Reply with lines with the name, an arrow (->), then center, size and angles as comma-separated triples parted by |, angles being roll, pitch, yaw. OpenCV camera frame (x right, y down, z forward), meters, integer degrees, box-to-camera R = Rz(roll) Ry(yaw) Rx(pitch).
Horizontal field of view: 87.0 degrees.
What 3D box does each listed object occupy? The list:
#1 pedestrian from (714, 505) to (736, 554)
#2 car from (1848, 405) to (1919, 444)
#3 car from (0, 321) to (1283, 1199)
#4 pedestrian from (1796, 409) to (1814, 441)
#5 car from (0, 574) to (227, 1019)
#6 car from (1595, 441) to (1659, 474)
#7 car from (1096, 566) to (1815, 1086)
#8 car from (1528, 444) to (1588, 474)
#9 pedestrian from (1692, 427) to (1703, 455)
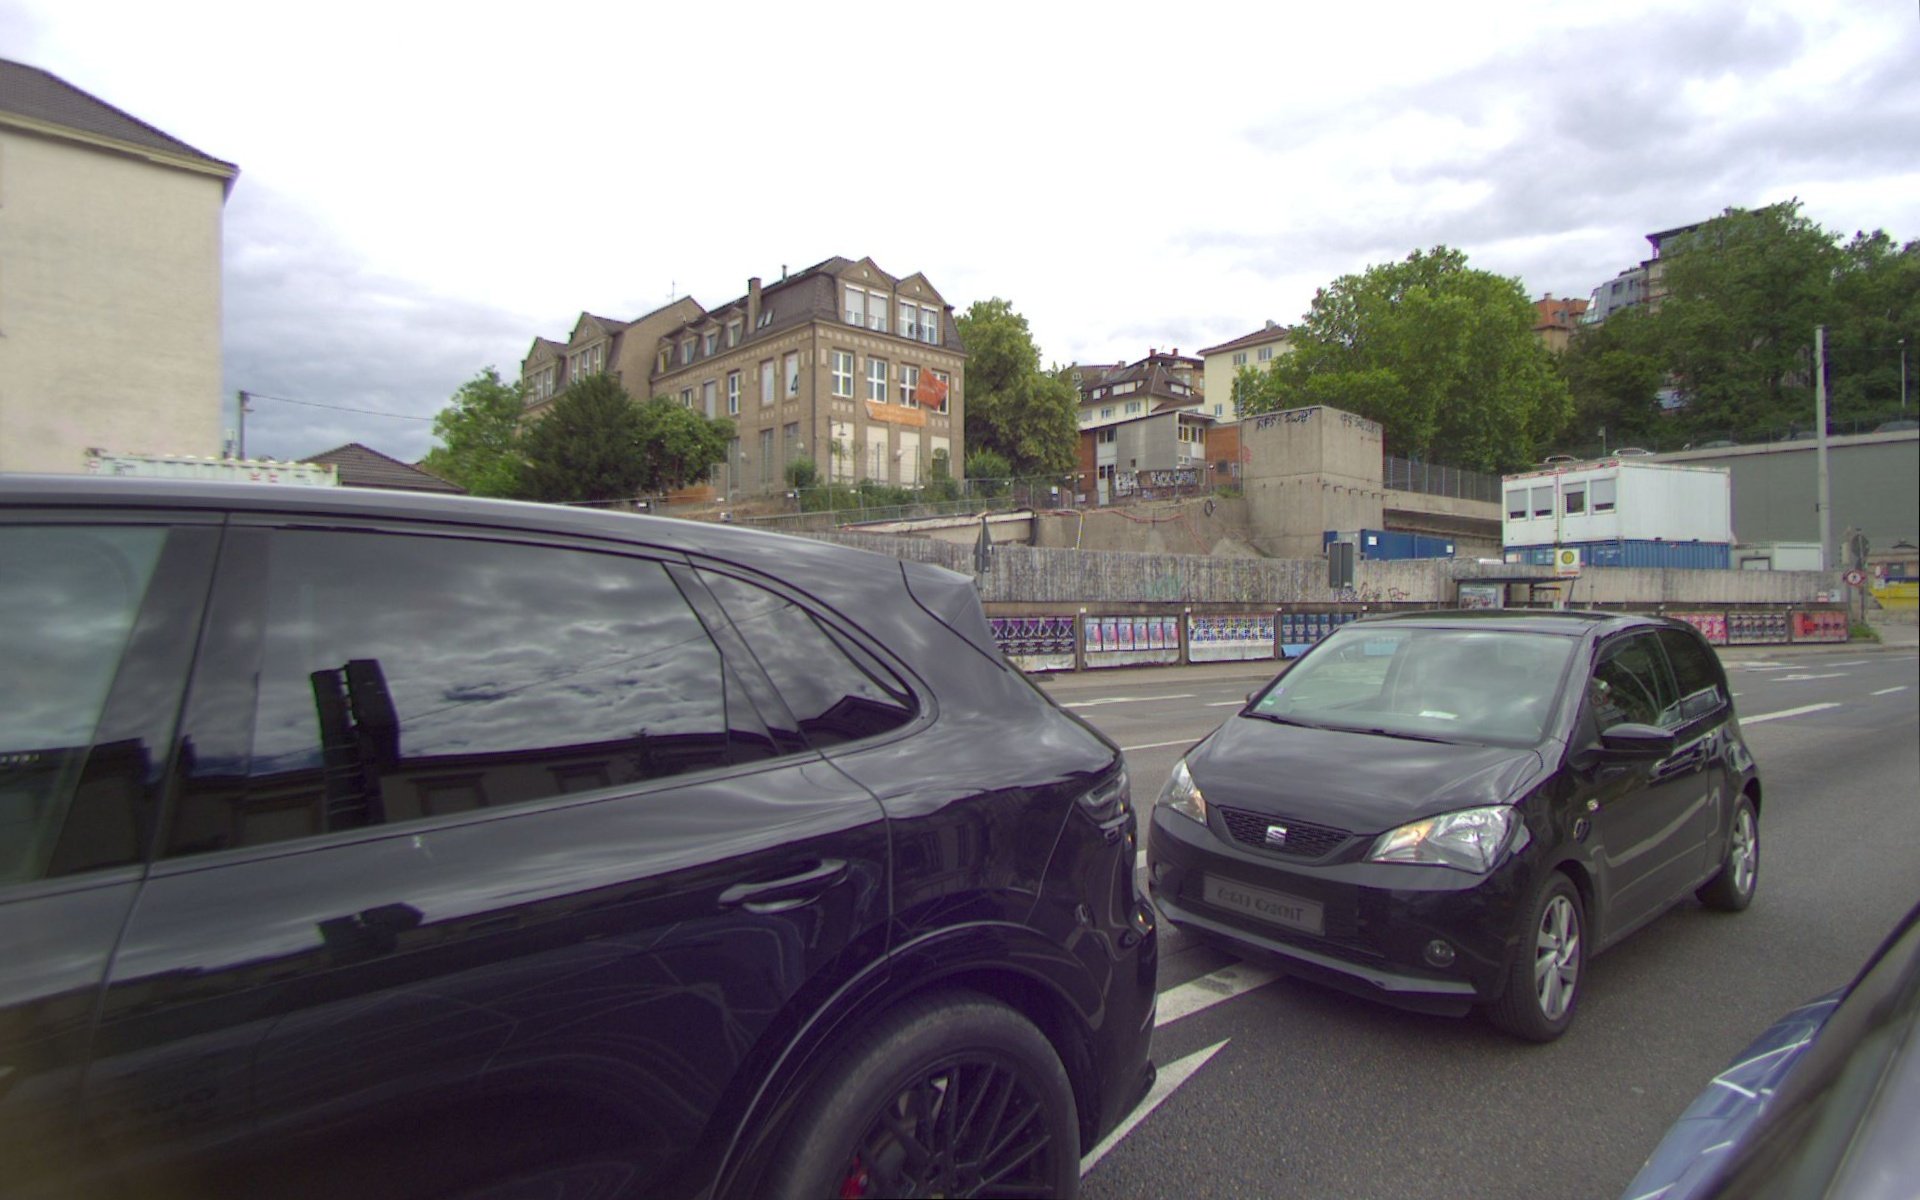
pedestrian -> -9.897, -2.960, 42.641 | 0.656, 2.039, 0.644 | 0, 0, -45
car -> 64.197, -12.104, 70.009 | 1.966, 2.039, 3.991 | 0, 1, -43
car -> -1.613, 0.590, 1.682 | 4.552, 1.707, 1.959 | 0, -1, -40
pedestrian -> 59.375, -12.266, 71.122 | 0.891, 2.039, 0.849 | 0, -1, -45
car -> -4.873, 0.696, 3.401 | 3.812, 1.563, 1.667 | 0, -1, -40
car -> 53.612, -11.425, 81.404 | 3.988, 2.039, 1.968 | 0, 1, 45
car -> 2.566, 0.667, 4.832 | 3.812, 1.515, 1.667 | 0, -1, -40
car -> 50.297, -11.834, 85.194 | 3.988, 2.039, 1.968 | 0, 1, 45
pedestrian -> 56.984, -12.305, 78.161 | 0.568, 2.039, 0.580 | 0, 0, -44
